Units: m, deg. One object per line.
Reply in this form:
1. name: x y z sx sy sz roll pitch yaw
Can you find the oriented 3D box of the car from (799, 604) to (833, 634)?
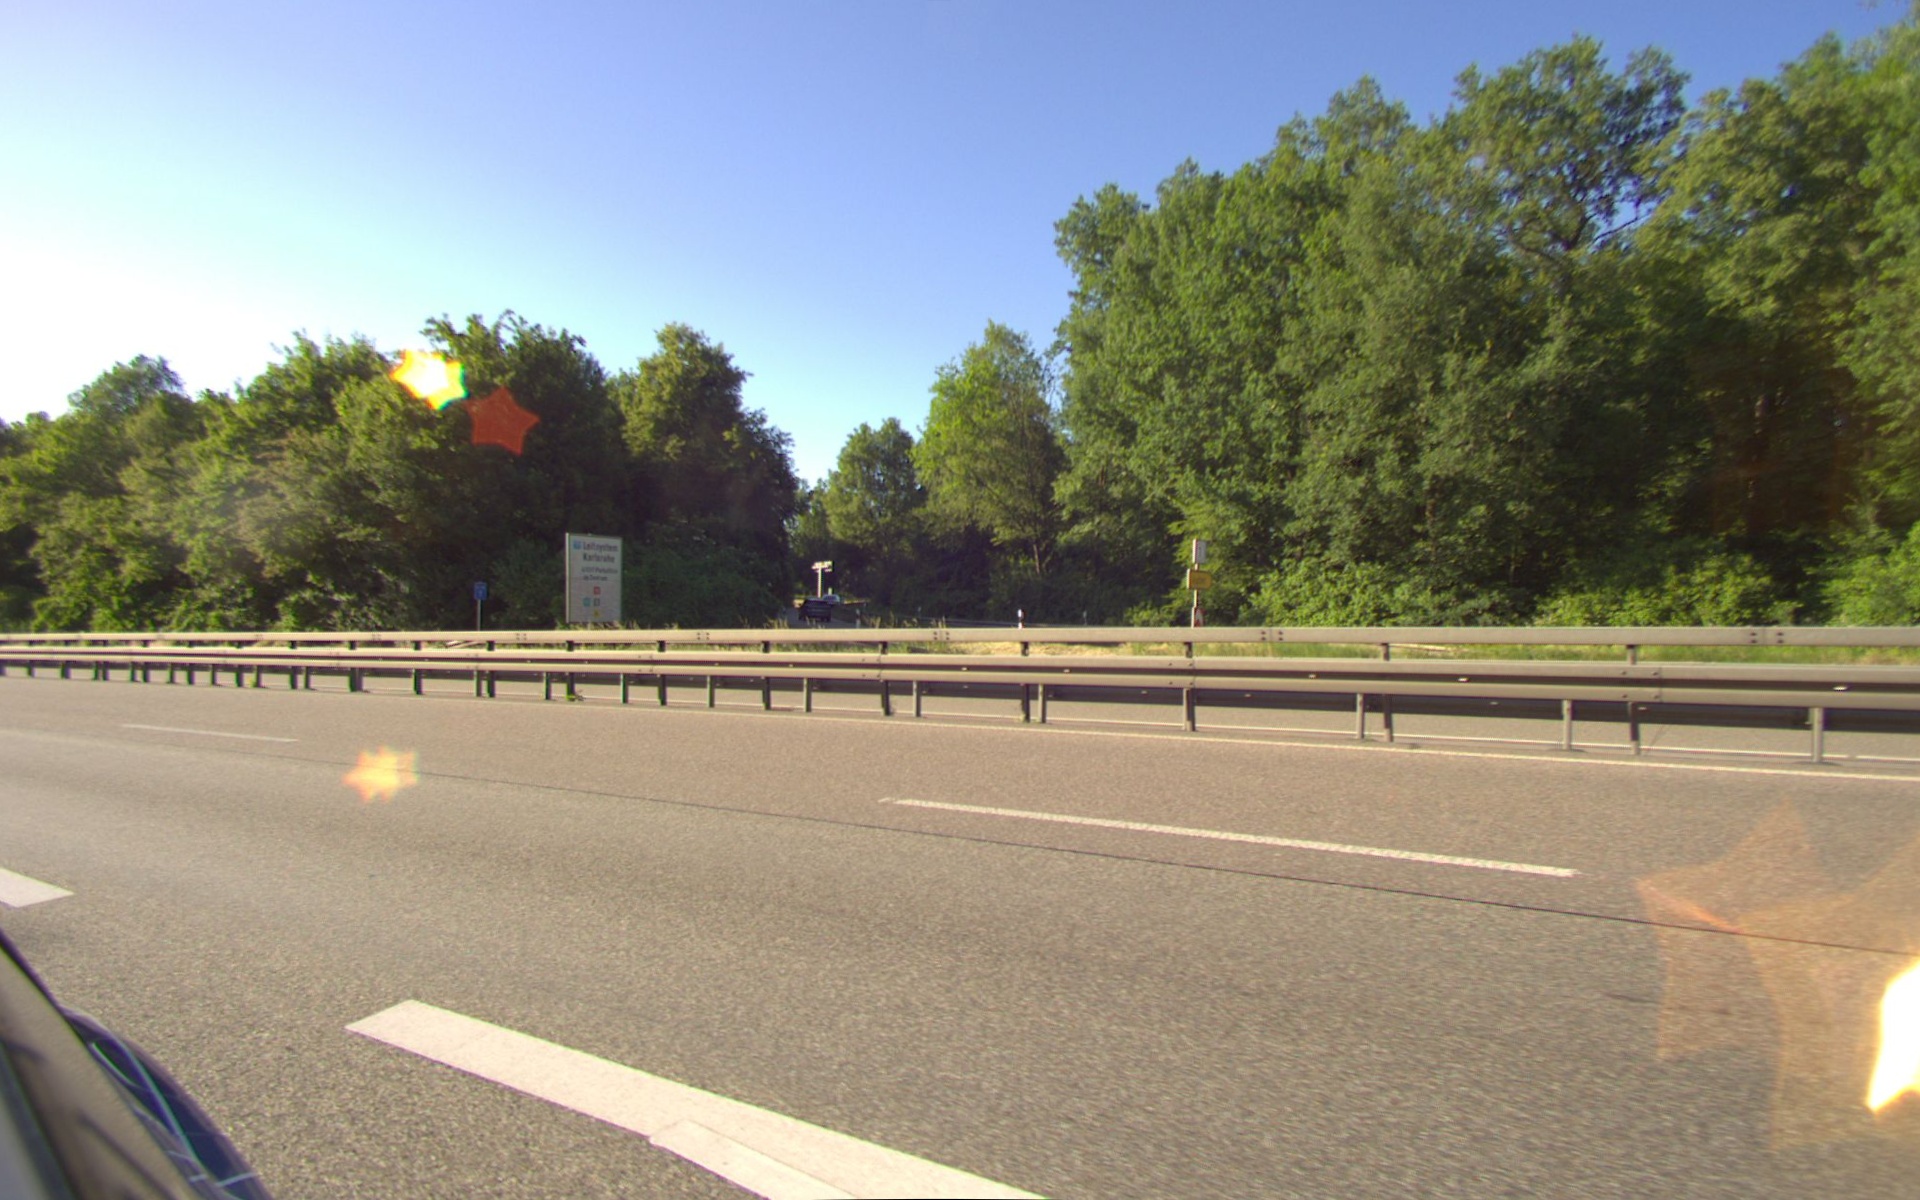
1. car: -9.591 1.225 67.147 1.967 1.874 4.676 0 1 -12
